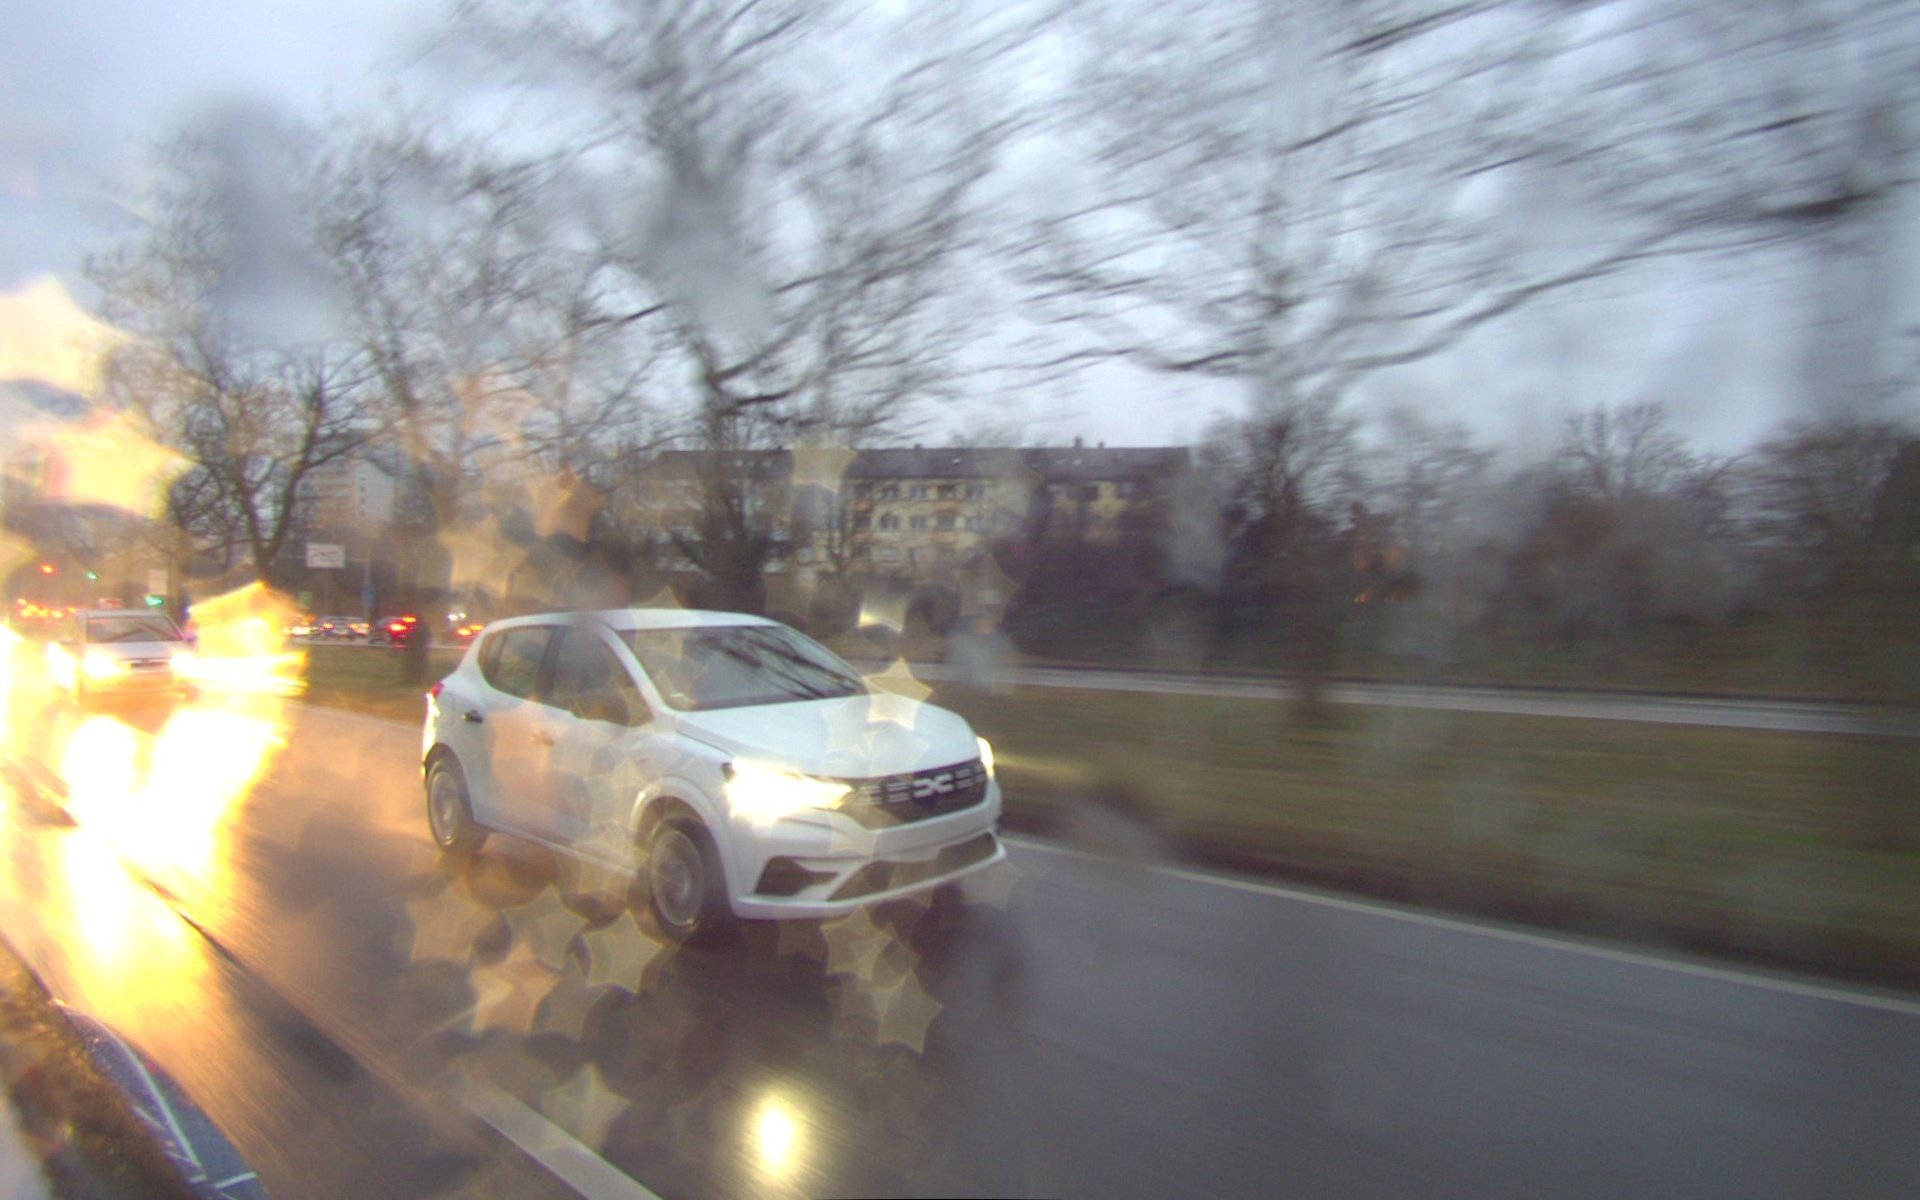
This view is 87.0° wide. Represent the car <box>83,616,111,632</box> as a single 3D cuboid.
[{"bbox_3d":[-86.466,2.435,101.385,3.999,1.514,1.553,0,0,42],"label":"car"}]

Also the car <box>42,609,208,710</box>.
[{"bbox_3d":[-15.007,0.966,18.117,4.165,1.611,1.742,-1,-1,43],"label":"car"}]

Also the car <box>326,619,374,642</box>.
[{"bbox_3d":[-42.900,2.122,71.135,4.271,1.500,1.700,-1,-1,42],"label":"car"}]

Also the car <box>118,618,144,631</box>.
[{"bbox_3d":[-85.068,2.538,103.813,3.999,1.302,1.521,-1,-1,42],"label":"car"}]

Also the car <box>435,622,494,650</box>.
[{"bbox_3d":[-27.599,1.984,56.328,3.790,1.479,1.614,-1,-1,42],"label":"car"}]

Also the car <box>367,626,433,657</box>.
[{"bbox_3d":[-30.368,2.215,54.814,4.376,1.545,1.764,-1,-1,42],"label":"car"}]

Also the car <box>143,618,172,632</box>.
[{"bbox_3d":[-75.021,2.319,94.605,3.999,1.321,1.521,-1,-1,42],"label":"car"}]

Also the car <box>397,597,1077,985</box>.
[{"bbox_3d":[-1.550,0.751,5.851,4.224,1.451,1.705,-1,-1,42],"label":"car"}]

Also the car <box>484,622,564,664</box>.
[{"bbox_3d":[-18.654,1.796,43.246,3.980,1.694,1.600,-1,-1,42],"label":"car"}]

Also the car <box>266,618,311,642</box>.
[{"bbox_3d":[-45.481,2.002,68.540,3.955,1.511,1.631,-1,-1,42],"label":"car"}]

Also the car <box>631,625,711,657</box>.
[{"bbox_3d":[-13.876,1.944,48.472,4.299,1.405,1.730,-1,-1,42],"label":"car"}]

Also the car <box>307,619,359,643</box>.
[{"bbox_3d":[-38.056,1.852,61.410,3.955,1.364,1.631,-1,-1,42],"label":"car"}]

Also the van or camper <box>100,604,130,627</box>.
[{"bbox_3d":[-95.445,1.732,114.317,4.738,2.629,1.942,-1,-1,42],"label":"van or camper"}]
